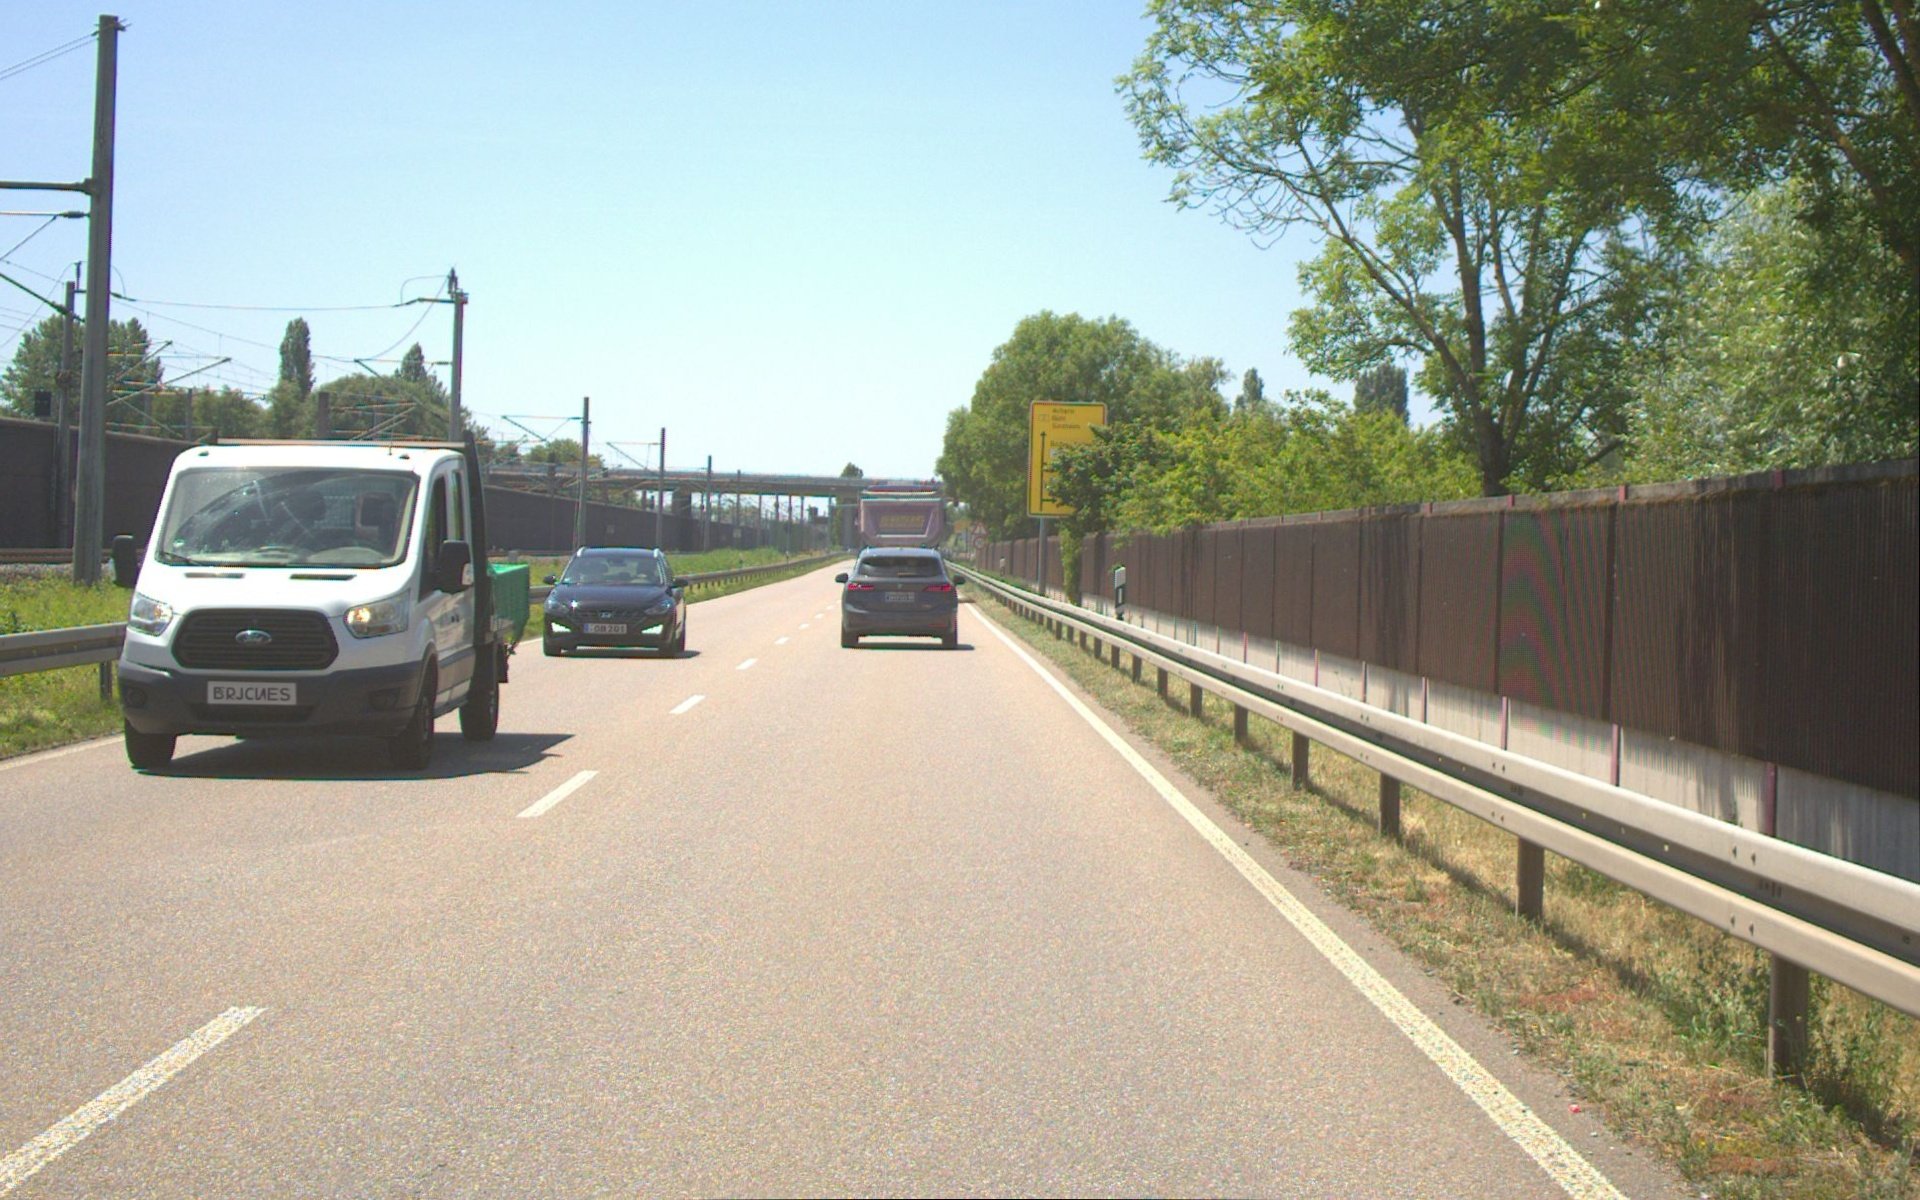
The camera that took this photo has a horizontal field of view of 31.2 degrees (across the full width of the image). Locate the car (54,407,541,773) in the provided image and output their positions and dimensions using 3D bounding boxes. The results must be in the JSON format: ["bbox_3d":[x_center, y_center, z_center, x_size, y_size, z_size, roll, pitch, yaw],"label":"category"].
[{"bbox_3d":[-4.574,-0.113,24.875,2.261,2.279,6.235,1,1,0],"label":"car"}]

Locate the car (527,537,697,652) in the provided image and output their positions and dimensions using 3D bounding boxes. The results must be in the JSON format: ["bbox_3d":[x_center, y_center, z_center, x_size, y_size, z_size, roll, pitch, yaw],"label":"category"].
[{"bbox_3d":[-4.804,-0.106,48.025,1.975,1.503,4.163,1,1,-1],"label":"car"}]

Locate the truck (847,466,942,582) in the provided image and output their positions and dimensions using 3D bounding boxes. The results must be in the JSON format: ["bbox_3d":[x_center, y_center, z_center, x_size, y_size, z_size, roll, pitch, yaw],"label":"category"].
[{"bbox_3d":[-1.997,-2.334,106.913,2.770,3.413,10.820,1,1,-1],"label":"truck"}]

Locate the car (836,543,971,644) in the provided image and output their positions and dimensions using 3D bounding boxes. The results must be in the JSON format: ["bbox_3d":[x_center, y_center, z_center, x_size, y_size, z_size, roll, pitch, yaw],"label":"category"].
[{"bbox_3d":[-0.931,-0.125,54.060,1.993,1.503,4.001,0,1,-3],"label":"car"}]
